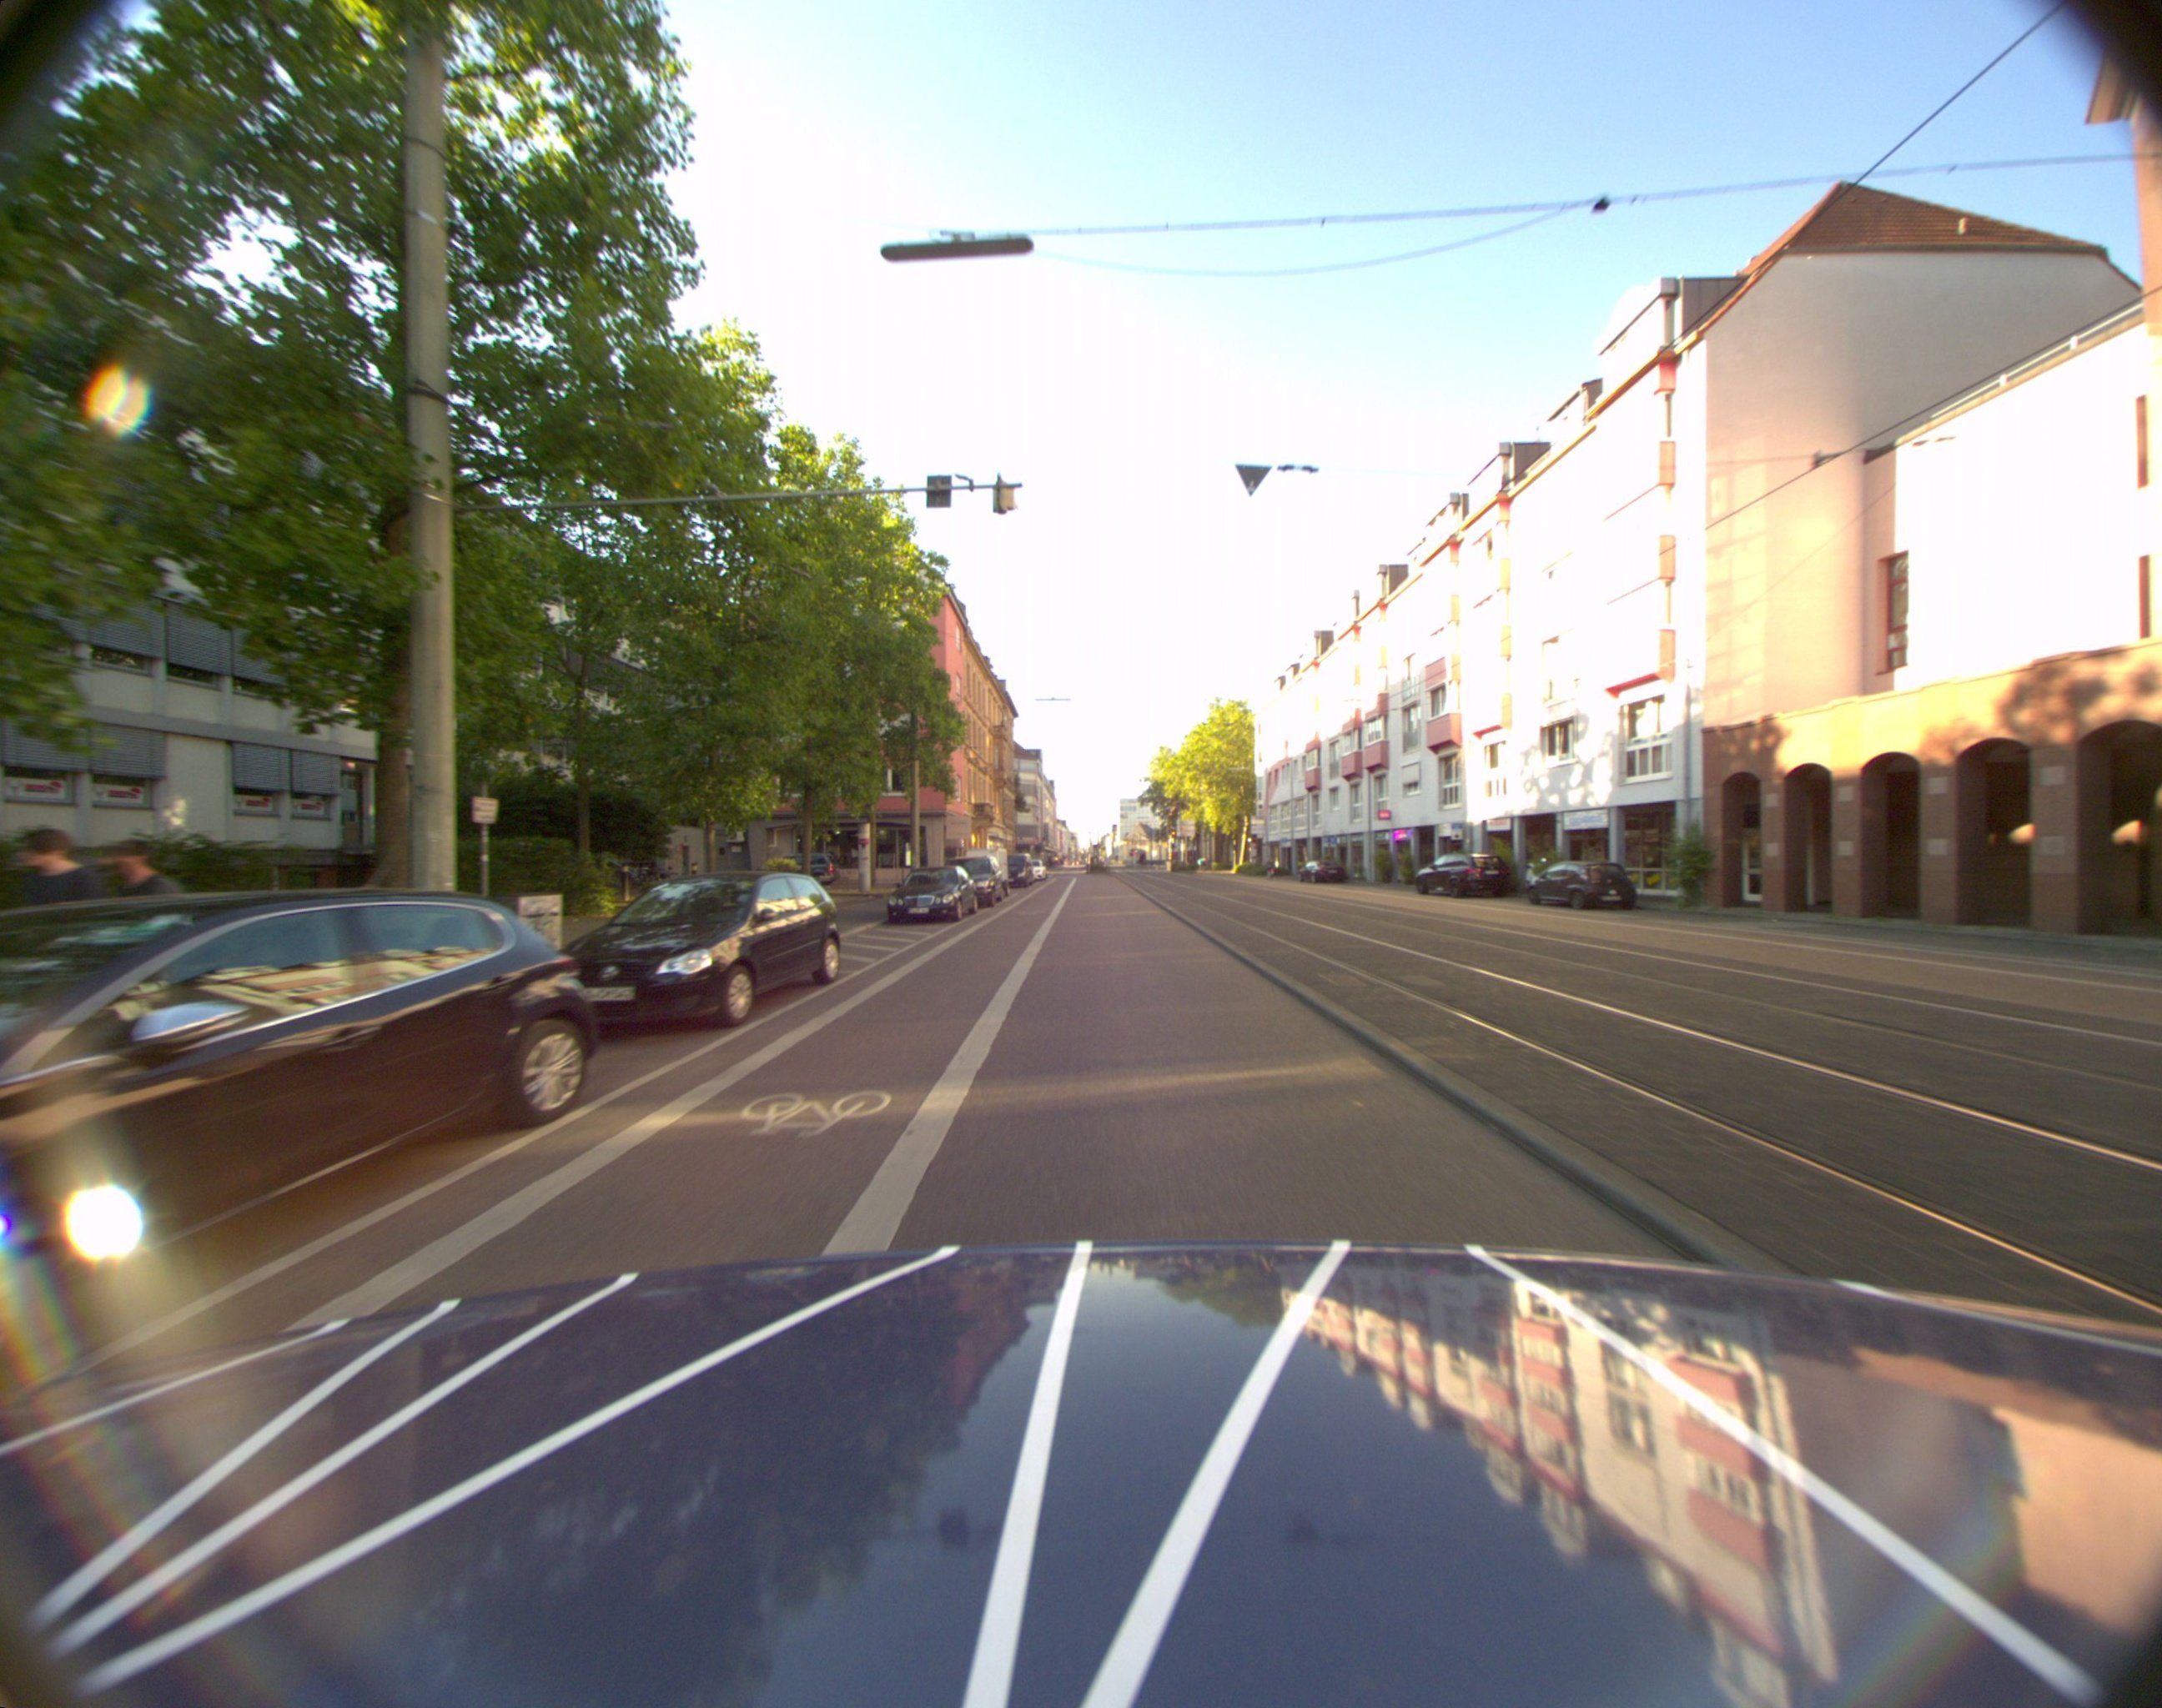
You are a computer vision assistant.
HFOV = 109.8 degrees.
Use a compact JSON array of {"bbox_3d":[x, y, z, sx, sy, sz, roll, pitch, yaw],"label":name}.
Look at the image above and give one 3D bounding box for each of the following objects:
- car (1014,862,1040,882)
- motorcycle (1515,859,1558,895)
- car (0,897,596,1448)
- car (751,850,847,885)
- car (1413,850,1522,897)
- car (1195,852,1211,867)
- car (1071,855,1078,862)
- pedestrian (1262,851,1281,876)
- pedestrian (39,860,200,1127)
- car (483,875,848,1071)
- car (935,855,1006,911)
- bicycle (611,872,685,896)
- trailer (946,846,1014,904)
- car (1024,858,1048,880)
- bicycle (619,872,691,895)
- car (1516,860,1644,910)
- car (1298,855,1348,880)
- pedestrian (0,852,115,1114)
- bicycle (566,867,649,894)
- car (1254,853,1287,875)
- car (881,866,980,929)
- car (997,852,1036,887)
[{"bbox_3d":[-3.499,1.172,49.287,1.420,1.183,3.086,-2,0,0],"label":"car"},{"bbox_3d":[17.149,0.852,28.655,0.771,1.272,2.139,-2,0,14],"label":"motorcycle"},{"bbox_3d":[-4.066,1.055,2.983,1.687,1.483,3.911,-2,0,1],"label":"car"},{"bbox_3d":[-14.572,0.688,39.408,4.368,1.662,1.589,2,0,-3],"label":"car"},{"bbox_3d":[15.366,0.738,30.495,1.964,1.690,4.560,-2,0,-1],"label":"car"},{"bbox_3d":[13.845,0.609,86.447,1.383,1.663,2.882,0,0,1],"label":"car"},{"bbox_3d":[-1.554,1.150,179.779,1.420,1.612,3.627,-2,0,0],"label":"car"},{"bbox_3d":[13.469,0.666,53.789,1.096,1.768,1.253,0,0,5],"label":"pedestrian"},{"bbox_3d":[-6.445,0.901,5.112,0.494,1.703,0.437,2,1,0],"label":"pedestrian"},{"bbox_3d":[-3.992,1.030,8.144,1.597,1.485,3.902,-1,0,3],"label":"car"},{"bbox_3d":[-3.781,0.934,26.751,1.784,1.735,4.474,-2,0,0],"label":"car"},{"bbox_3d":[-19.546,1.364,34.338,2.805,1.052,0.822,0,0,-4],"label":"bicycle"},{"bbox_3d":[-4.096,0.802,31.672,1.783,2.136,5.316,-2,0,3],"label":"trailer"},{"bbox_3d":[-3.193,1.032,54.361,1.420,1.425,3.872,-2,0,0],"label":"car"},{"bbox_3d":[-19.767,1.365,35.314,2.805,1.052,0.822,0,0,-4],"label":"bicycle"},{"bbox_3d":[15.467,0.911,23.792,1.646,1.392,3.683,-2,0,1],"label":"car"},{"bbox_3d":[15.661,0.825,49.438,1.829,1.500,4.561,-2,0,1],"label":"car"},{"bbox_3d":[-7.133,0.843,5.182,0.494,1.703,0.437,2,1,0],"label":"pedestrian"},{"bbox_3d":[-19.456,1.079,31.260,2.805,1.052,0.822,0,0,-4],"label":"bicycle"},{"bbox_3d":[16.253,0.853,65.335,1.931,1.787,4.385,0,0,4],"label":"car"},{"bbox_3d":[-3.930,1.091,20.582,1.784,1.420,4.212,-2,0,0],"label":"car"},{"bbox_3d":[-3.582,0.831,42.689,1.697,1.832,4.695,-2,0,0],"label":"car"}]
